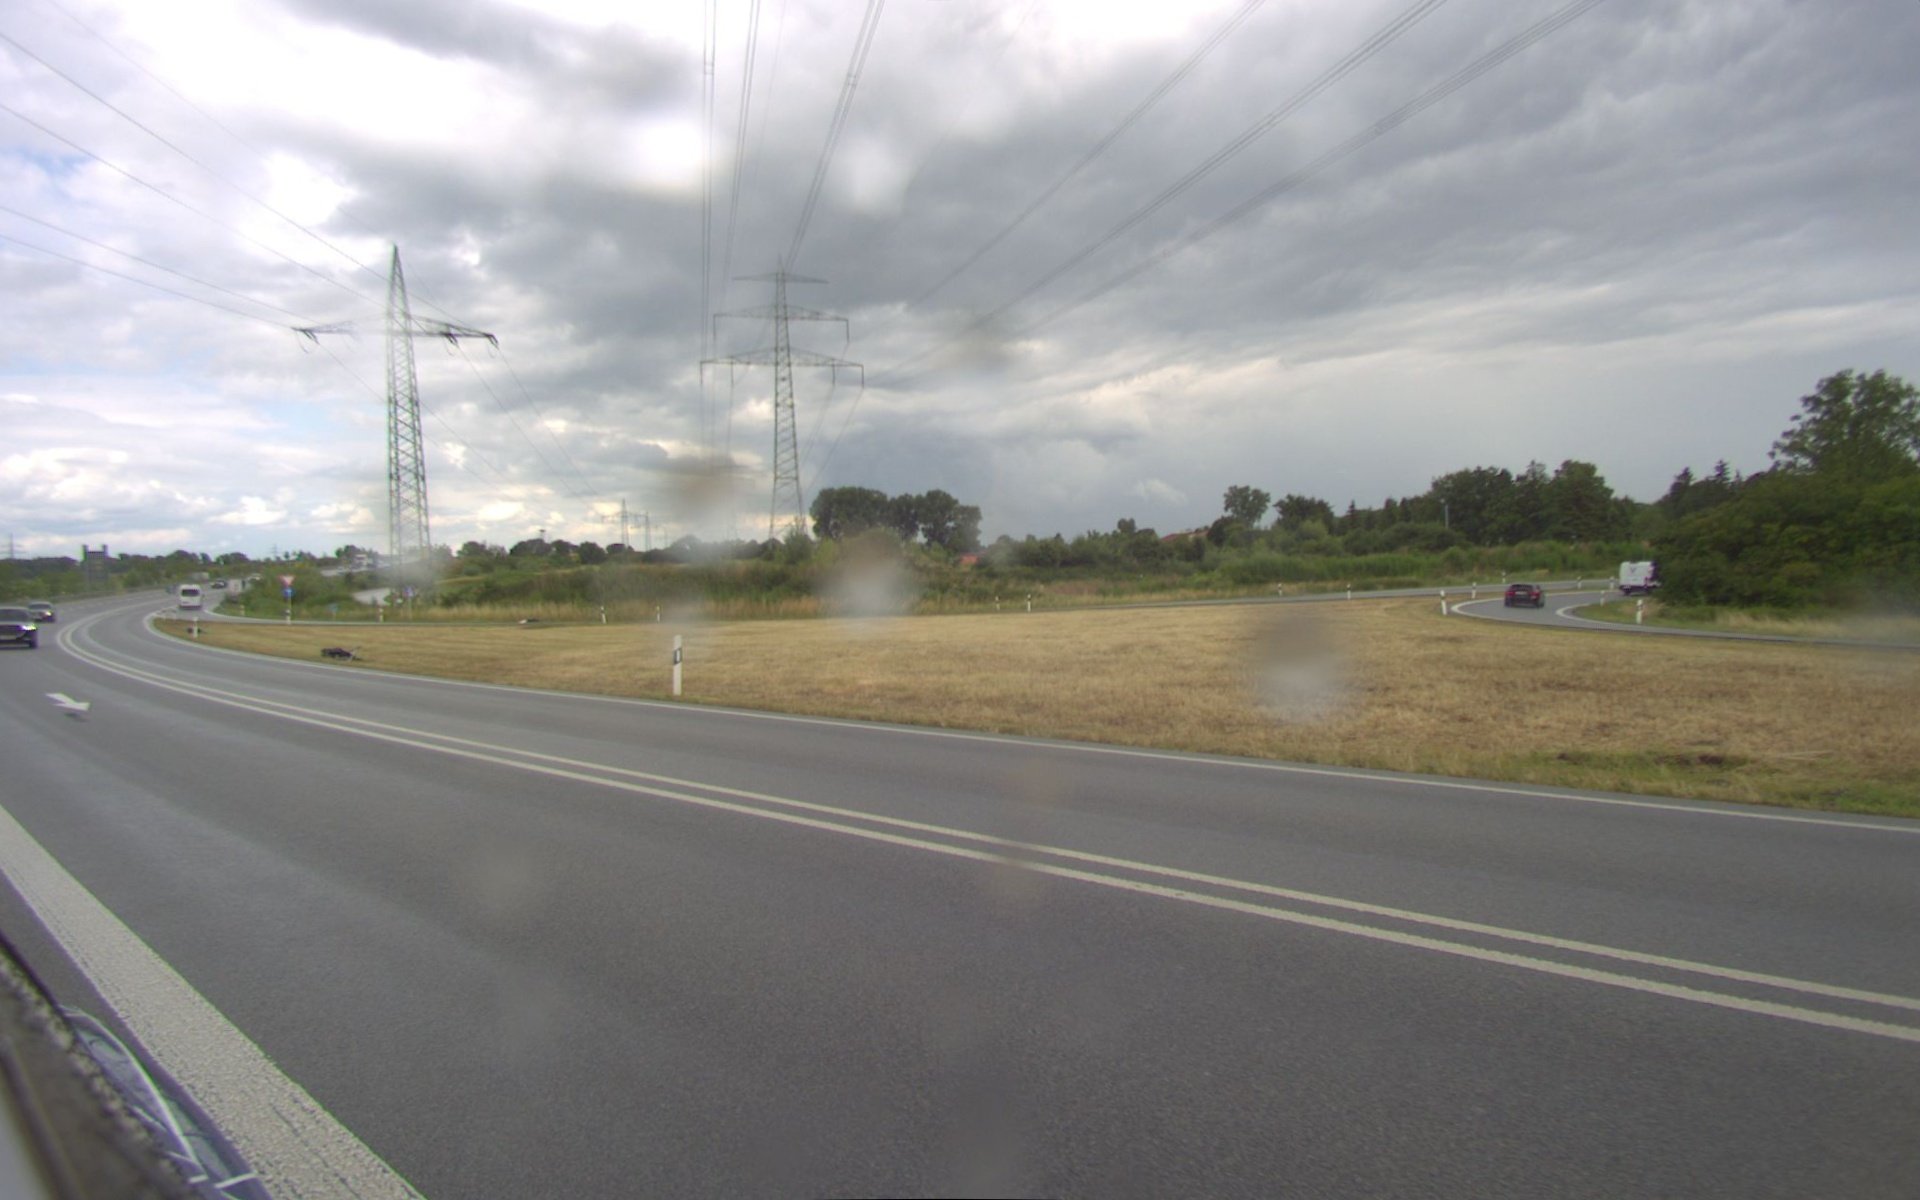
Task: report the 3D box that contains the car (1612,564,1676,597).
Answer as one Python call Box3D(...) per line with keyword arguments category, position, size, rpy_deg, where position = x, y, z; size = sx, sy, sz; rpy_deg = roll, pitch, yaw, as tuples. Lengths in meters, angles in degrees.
Box3D(category="car", position=(51.348, -1.491, 75.937), size=(5.383, 2.409, 2.447), rpy_deg=(-1, 2, -39))

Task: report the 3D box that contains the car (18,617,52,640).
Box3D(category="car", position=(-67.411, 2.050, 73.776), size=(1.723, 1.508, 4.055), rpy_deg=(-2, 2, -42))

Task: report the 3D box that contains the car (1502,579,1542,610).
Box3D(category="car", position=(32.873, -0.354, 59.205), size=(1.979, 1.615, 3.878), rpy_deg=(1, 3, 29))

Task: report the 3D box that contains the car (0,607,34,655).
Box3D(category="car", position=(-38.459, 1.233, 40.439), size=(3.999, 1.782, 1.772), rpy_deg=(0, 2, 42))

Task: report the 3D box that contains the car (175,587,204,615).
Box3D(category="car", position=(-82.102, 0.088, 107.837), size=(2.178, 2.769, 6.036), rpy_deg=(-4, 2, -36))
